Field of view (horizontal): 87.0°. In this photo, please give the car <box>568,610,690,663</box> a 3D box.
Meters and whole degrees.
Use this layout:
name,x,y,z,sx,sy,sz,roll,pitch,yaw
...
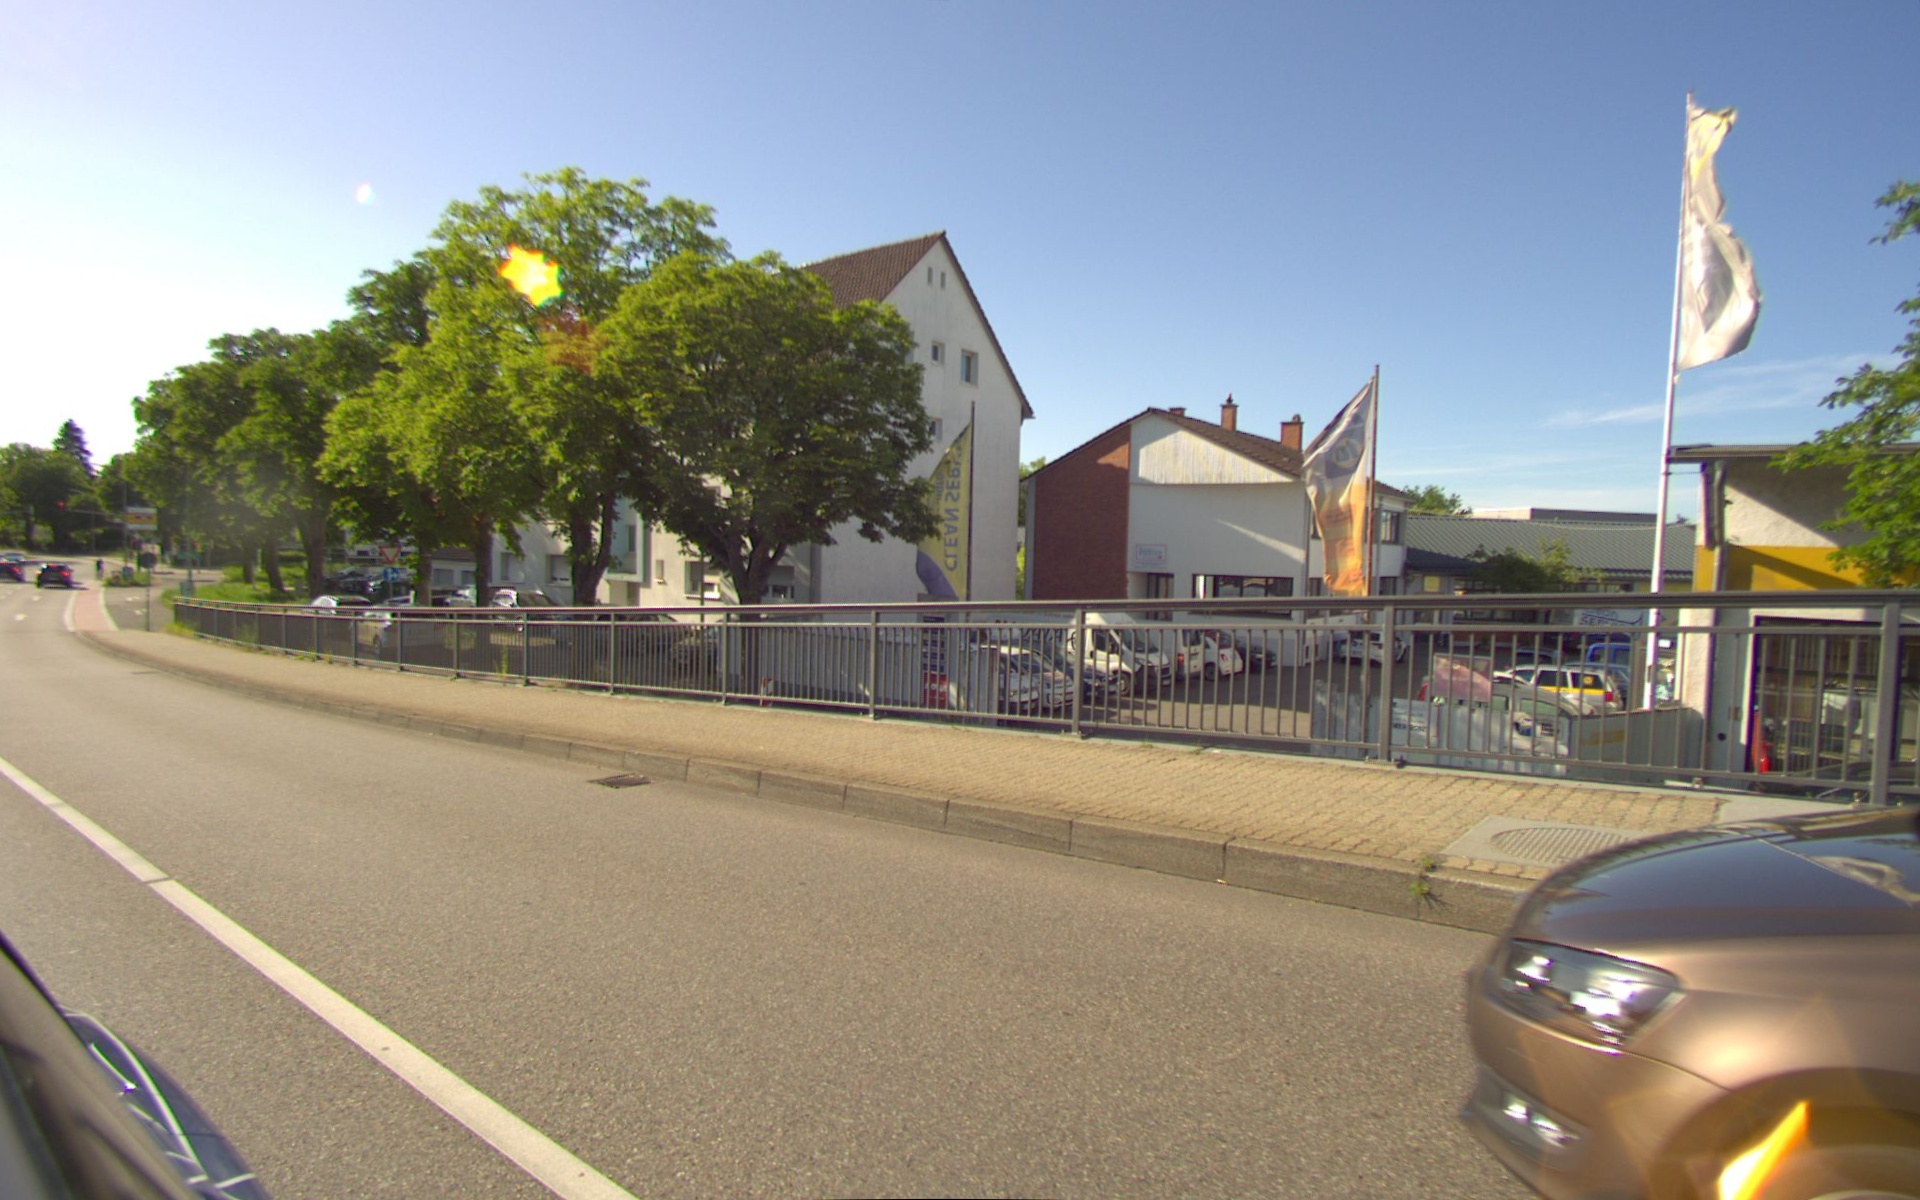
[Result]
name,x,y,z,sx,sy,sz,roll,pitch,yaw
car,-11.469,1.212,35.343,1.986,1.610,3.972,1,1,21

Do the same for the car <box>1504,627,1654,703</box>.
name,x,y,z,sx,sy,sz,roll,pitch,yaw
car,20.027,2.025,32.774,3.991,2.028,1.977,2,3,35

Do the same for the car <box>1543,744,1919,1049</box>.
name,x,y,z,sx,sy,sz,roll,pitch,yaw
car,8.420,2.831,9.967,1.901,2.006,4.261,-2,3,-44

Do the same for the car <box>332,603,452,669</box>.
name,x,y,z,sx,sy,sz,roll,pitch,yaw
car,-19.145,1.120,34.024,5.237,1.741,2.016,4,4,43

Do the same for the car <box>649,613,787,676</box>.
name,x,y,z,sx,sy,sz,roll,pitch,yaw
car,-7.517,1.335,31.691,1.894,1.595,3.965,2,3,35

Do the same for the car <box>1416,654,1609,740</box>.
name,x,y,z,sx,sy,sz,roll,pitch,yaw
car,13.875,2.400,25.701,3.969,1.739,1.988,1,2,19

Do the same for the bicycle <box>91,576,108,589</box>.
name,x,y,z,sx,sy,sz,roll,pitch,yaw
bicycle,-69.274,-1.407,81.500,0.925,1.024,2.202,-1,3,-37

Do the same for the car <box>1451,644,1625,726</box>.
name,x,y,z,sx,sy,sz,roll,pitch,yaw
car,15.968,2.278,27.997,3.991,1.758,1.977,2,3,35

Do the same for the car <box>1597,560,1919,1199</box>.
name,x,y,z,sx,sy,sz,roll,pitch,yaw
car,3.216,0.676,1.185,3.986,1.486,1.752,-1,-1,40

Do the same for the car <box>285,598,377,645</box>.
name,x,y,z,sx,sy,sz,roll,pitch,yaw
car,-24.568,0.770,39.456,2.014,1.475,4.966,-1,3,-44

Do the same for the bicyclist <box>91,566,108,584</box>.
name,x,y,z,sx,sy,sz,roll,pitch,yaw
bicyclist,-69.295,-2.038,81.503,0.921,1.412,0.824,-1,3,-38

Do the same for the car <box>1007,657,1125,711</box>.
name,x,y,z,sx,sy,sz,roll,pitch,yaw
car,2.914,2.296,28.056,3.044,1.086,1.285,4,2,41

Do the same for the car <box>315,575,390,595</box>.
name,x,y,z,sx,sy,sz,roll,pitch,yaw
car,-41.126,-1.017,68.641,2.034,1.249,3.896,2,3,27

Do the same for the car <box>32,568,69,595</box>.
name,x,y,z,sx,sy,sz,roll,pitch,yaw
car,-63.062,-1.290,70.222,1.830,1.748,4.277,-1,3,-41

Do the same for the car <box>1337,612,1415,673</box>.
name,x,y,z,sx,sy,sz,roll,pitch,yaw
car,16.375,1.606,39.711,1.996,2.028,3.919,2,3,35

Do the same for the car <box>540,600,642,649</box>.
name,x,y,z,sx,sy,sz,roll,pitch,yaw
car,-13.543,0.864,37.330,1.769,1.521,3.651,1,2,16

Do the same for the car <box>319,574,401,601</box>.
name,x,y,z,sx,sy,sz,roll,pitch,yaw
car,-37.582,-0.821,63.455,1.991,1.571,3.963,2,3,27

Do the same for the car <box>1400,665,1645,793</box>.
name,x,y,z,sx,sy,sz,roll,pitch,yaw
car,10.987,2.412,19.882,3.989,1.865,1.977,2,2,34

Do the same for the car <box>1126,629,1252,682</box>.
name,x,y,z,sx,sy,sz,roll,pitch,yaw
car,7.753,1.841,34.452,3.810,1.407,1.672,4,3,40

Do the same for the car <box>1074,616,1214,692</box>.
name,x,y,z,sx,sy,sz,roll,pitch,yaw
car,5.922,1.675,32.870,3.998,2.028,1.973,4,3,40

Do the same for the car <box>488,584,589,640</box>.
name,x,y,z,sx,sy,sz,roll,pitch,yaw
car,-17.289,0.431,41.381,4.788,1.944,2.047,4,4,43

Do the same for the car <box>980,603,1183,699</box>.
name,x,y,z,sx,sy,sz,roll,pitch,yaw
car,3.621,1.447,30.933,5.879,2.581,2.111,1,1,36

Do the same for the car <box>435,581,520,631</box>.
name,x,y,z,sx,sy,sz,roll,pitch,yaw
car,-21.644,0.196,45.288,5.105,1.944,1.728,4,3,44

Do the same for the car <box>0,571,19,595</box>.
name,x,y,z,sx,sy,sz,roll,pitch,yaw
car,-71.283,-1.268,75.026,4.000,1.611,1.892,4,1,43

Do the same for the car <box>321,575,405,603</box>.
name,x,y,z,sx,sy,sz,roll,pitch,yaw
car,-36.078,-0.693,61.266,1.918,1.622,3.953,2,3,35

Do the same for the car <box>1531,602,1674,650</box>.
name,x,y,z,sx,sy,sz,roll,pitch,yaw
car,29.640,1.162,46.787,5.219,2.028,2.000,1,2,0

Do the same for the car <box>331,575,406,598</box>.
name,x,y,z,sx,sy,sz,roll,pitch,yaw
car,-38.967,-0.924,66.724,1.939,1.423,3.841,2,3,30
